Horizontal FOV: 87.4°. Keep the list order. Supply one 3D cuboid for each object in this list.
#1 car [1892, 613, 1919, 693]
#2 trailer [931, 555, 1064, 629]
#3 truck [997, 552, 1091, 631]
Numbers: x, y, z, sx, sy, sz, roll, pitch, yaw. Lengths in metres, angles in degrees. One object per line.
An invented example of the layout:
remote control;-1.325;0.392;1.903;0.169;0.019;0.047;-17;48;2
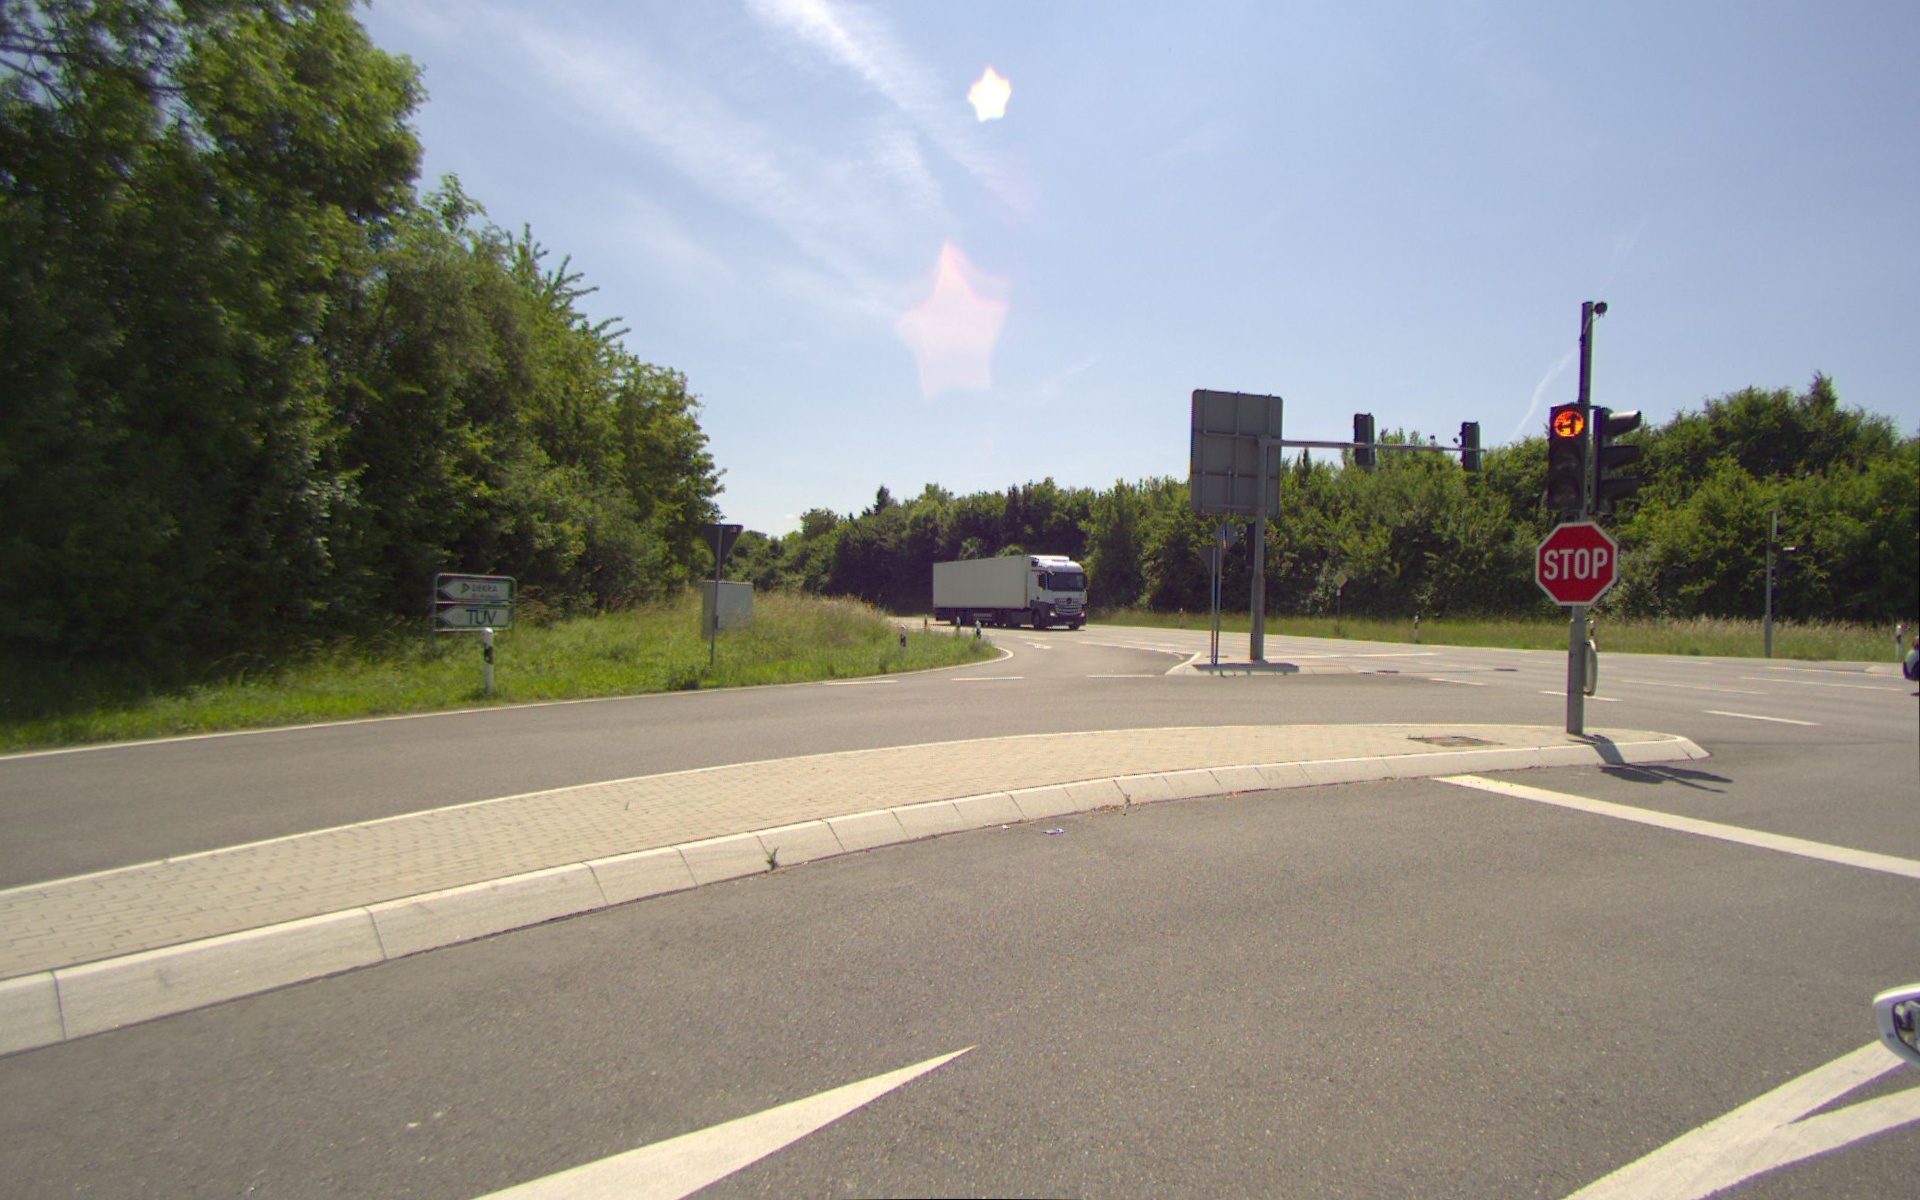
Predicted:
car;18.826;0.955;17.182;1.715;1.423;3.951;0;0;-32
trailer;1.918;-0.494;61.961;2.623;4.090;13.759;0;0;-23
truck;4.547;-0.441;55.809;2.623;4.090;6.245;0;0;-23
